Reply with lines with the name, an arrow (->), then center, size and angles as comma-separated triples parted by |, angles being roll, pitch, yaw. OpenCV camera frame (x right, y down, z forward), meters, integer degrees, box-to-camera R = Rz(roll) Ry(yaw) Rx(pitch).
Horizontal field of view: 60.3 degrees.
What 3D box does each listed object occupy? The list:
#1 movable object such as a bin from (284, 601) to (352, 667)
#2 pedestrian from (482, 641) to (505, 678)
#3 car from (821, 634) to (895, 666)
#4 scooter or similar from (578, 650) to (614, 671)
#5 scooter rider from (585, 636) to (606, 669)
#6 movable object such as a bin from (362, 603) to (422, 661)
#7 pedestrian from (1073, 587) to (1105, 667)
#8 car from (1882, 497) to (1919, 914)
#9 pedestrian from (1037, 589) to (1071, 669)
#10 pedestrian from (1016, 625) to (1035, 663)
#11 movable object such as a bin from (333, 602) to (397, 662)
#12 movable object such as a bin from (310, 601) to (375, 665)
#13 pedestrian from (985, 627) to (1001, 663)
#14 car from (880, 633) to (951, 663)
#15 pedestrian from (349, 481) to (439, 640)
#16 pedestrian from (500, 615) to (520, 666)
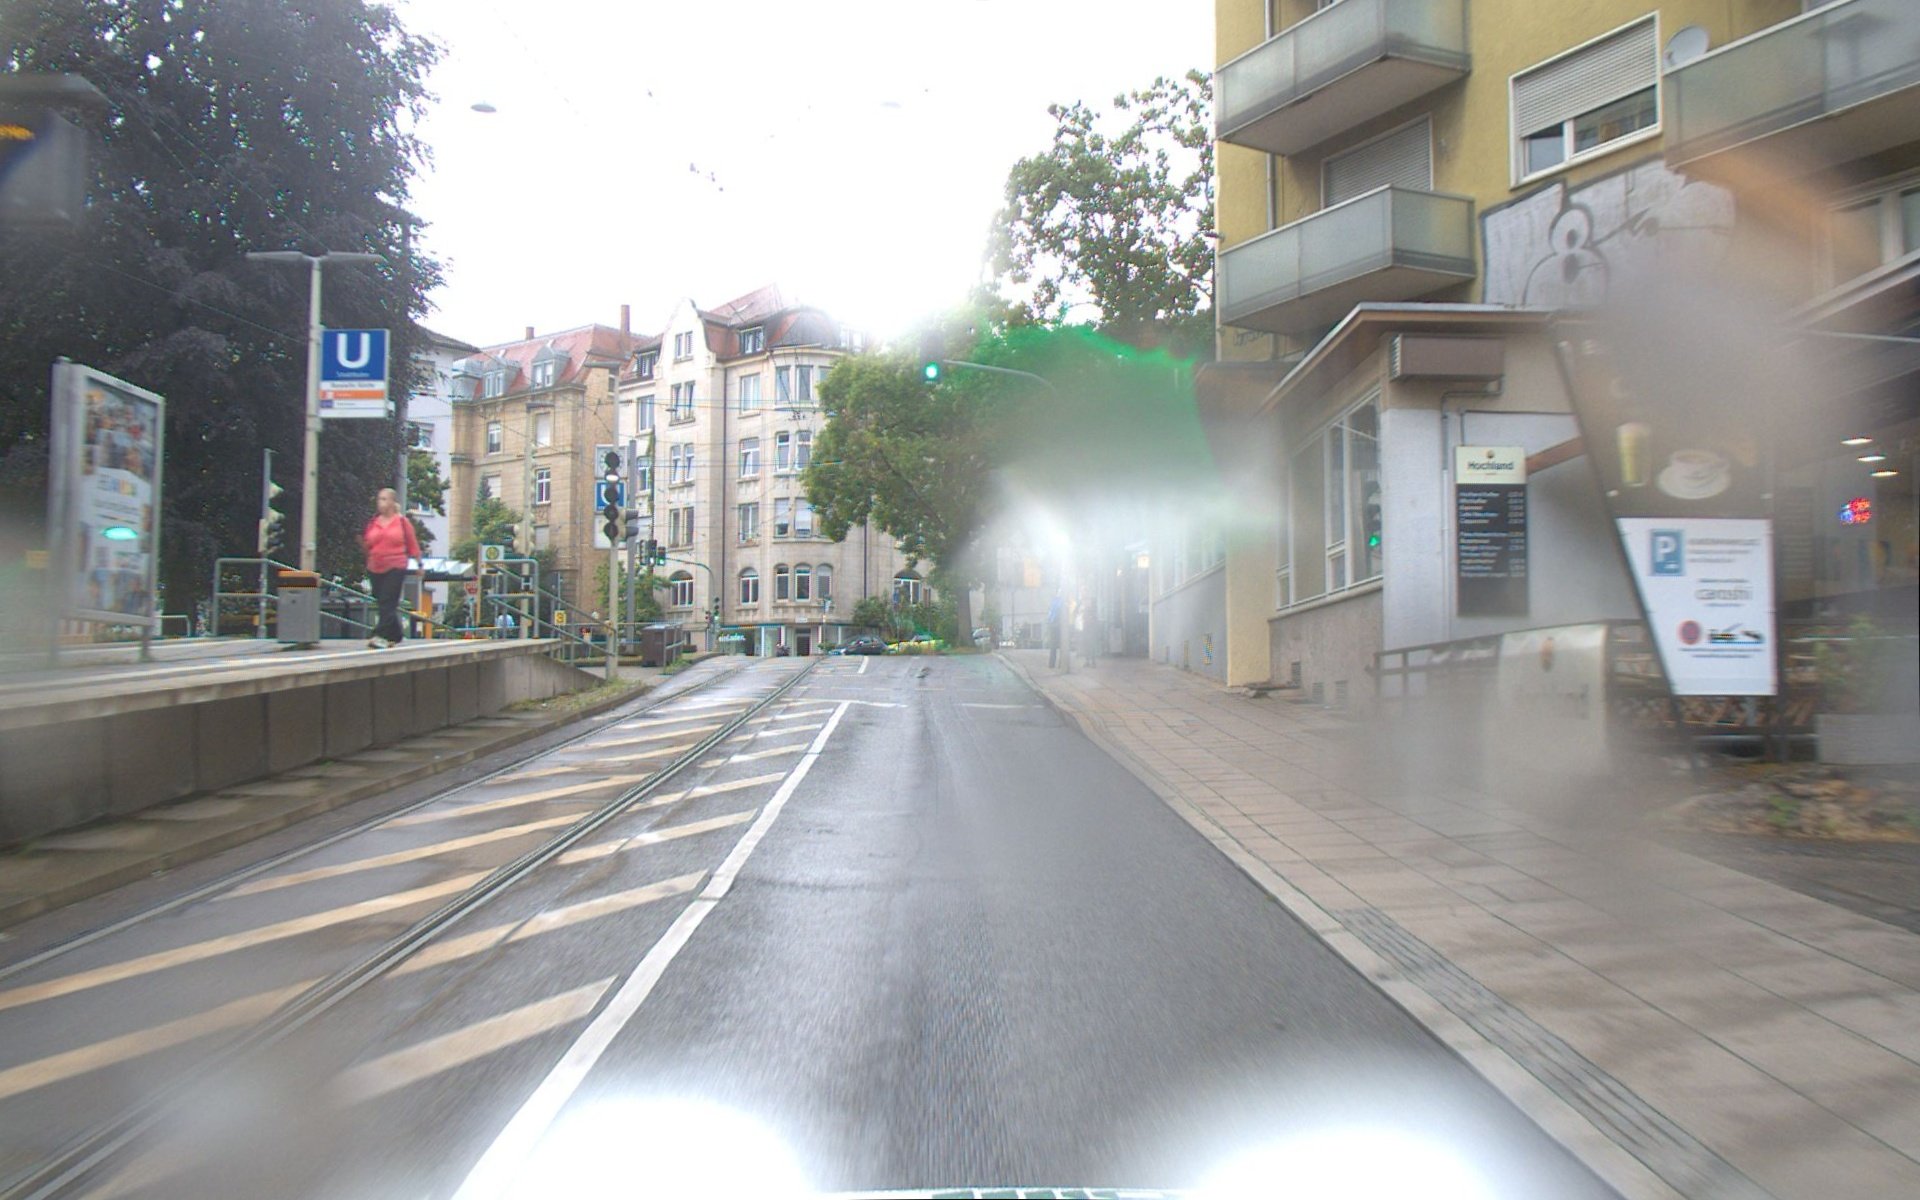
movable object such as a bin -> -14.771, 0.778, 38.099 | 1.000, 1.459, 1.304 | 2, -1, 1
pedestrian -> -21.812, 2.788, 77.370 | 0.662, 1.729, 0.740 | 1, -1, 44
car -> -5.368, 2.623, 86.994 | 3.641, 1.534, 1.710 | 0, -2, -43
scooter or similar -> -20.073, 3.326, 91.247 | 1.963, 1.068, 0.514 | 1, -6, 26
scooter rider -> -20.118, 2.911, 91.312 | 0.825, 1.736, 0.624 | 1, -6, 26
movable object such as a bin -> -14.765, 0.825, 43.041 | 1.000, 1.459, 1.427 | 2, -1, 1
pedestrian -> 2.613, 0.541, 33.571 | 0.535, 1.581, 0.558 | -2, -1, -4
car -> 6.007, 0.391, 6.063 | 4.239, 1.703, 1.781 | -1, 0, 1
pedestrian -> 1.886, 0.579, 33.155 | 0.576, 1.581, 0.649 | -2, -1, -2
pedestrian -> 2.905, 1.951, 73.330 | 0.539, 1.658, 0.594 | 2, -1, -34
movable object such as a bin -> -14.823, 0.790, 41.240 | 1.000, 1.459, 1.444 | 2, -1, 1
movable object such as a bin -> -14.760, 0.787, 39.570 | 1.000, 1.459, 1.355 | 2, -1, 1
pedestrian -> 1.490, 2.011, 74.049 | 0.589, 1.593, 0.544 | 2, -1, -11
car -> -2.403, 2.617, 90.044 | 3.641, 1.534, 1.710 | 0, -2, -43
pedestrian -> -5.726, -0.392, 16.775 | 0.657, 1.575, 0.771 | 0, 0, -2
pedestrian -> -15.410, 1.398, 56.623 | 0.557, 1.714, 0.774 | -1, -2, -9
